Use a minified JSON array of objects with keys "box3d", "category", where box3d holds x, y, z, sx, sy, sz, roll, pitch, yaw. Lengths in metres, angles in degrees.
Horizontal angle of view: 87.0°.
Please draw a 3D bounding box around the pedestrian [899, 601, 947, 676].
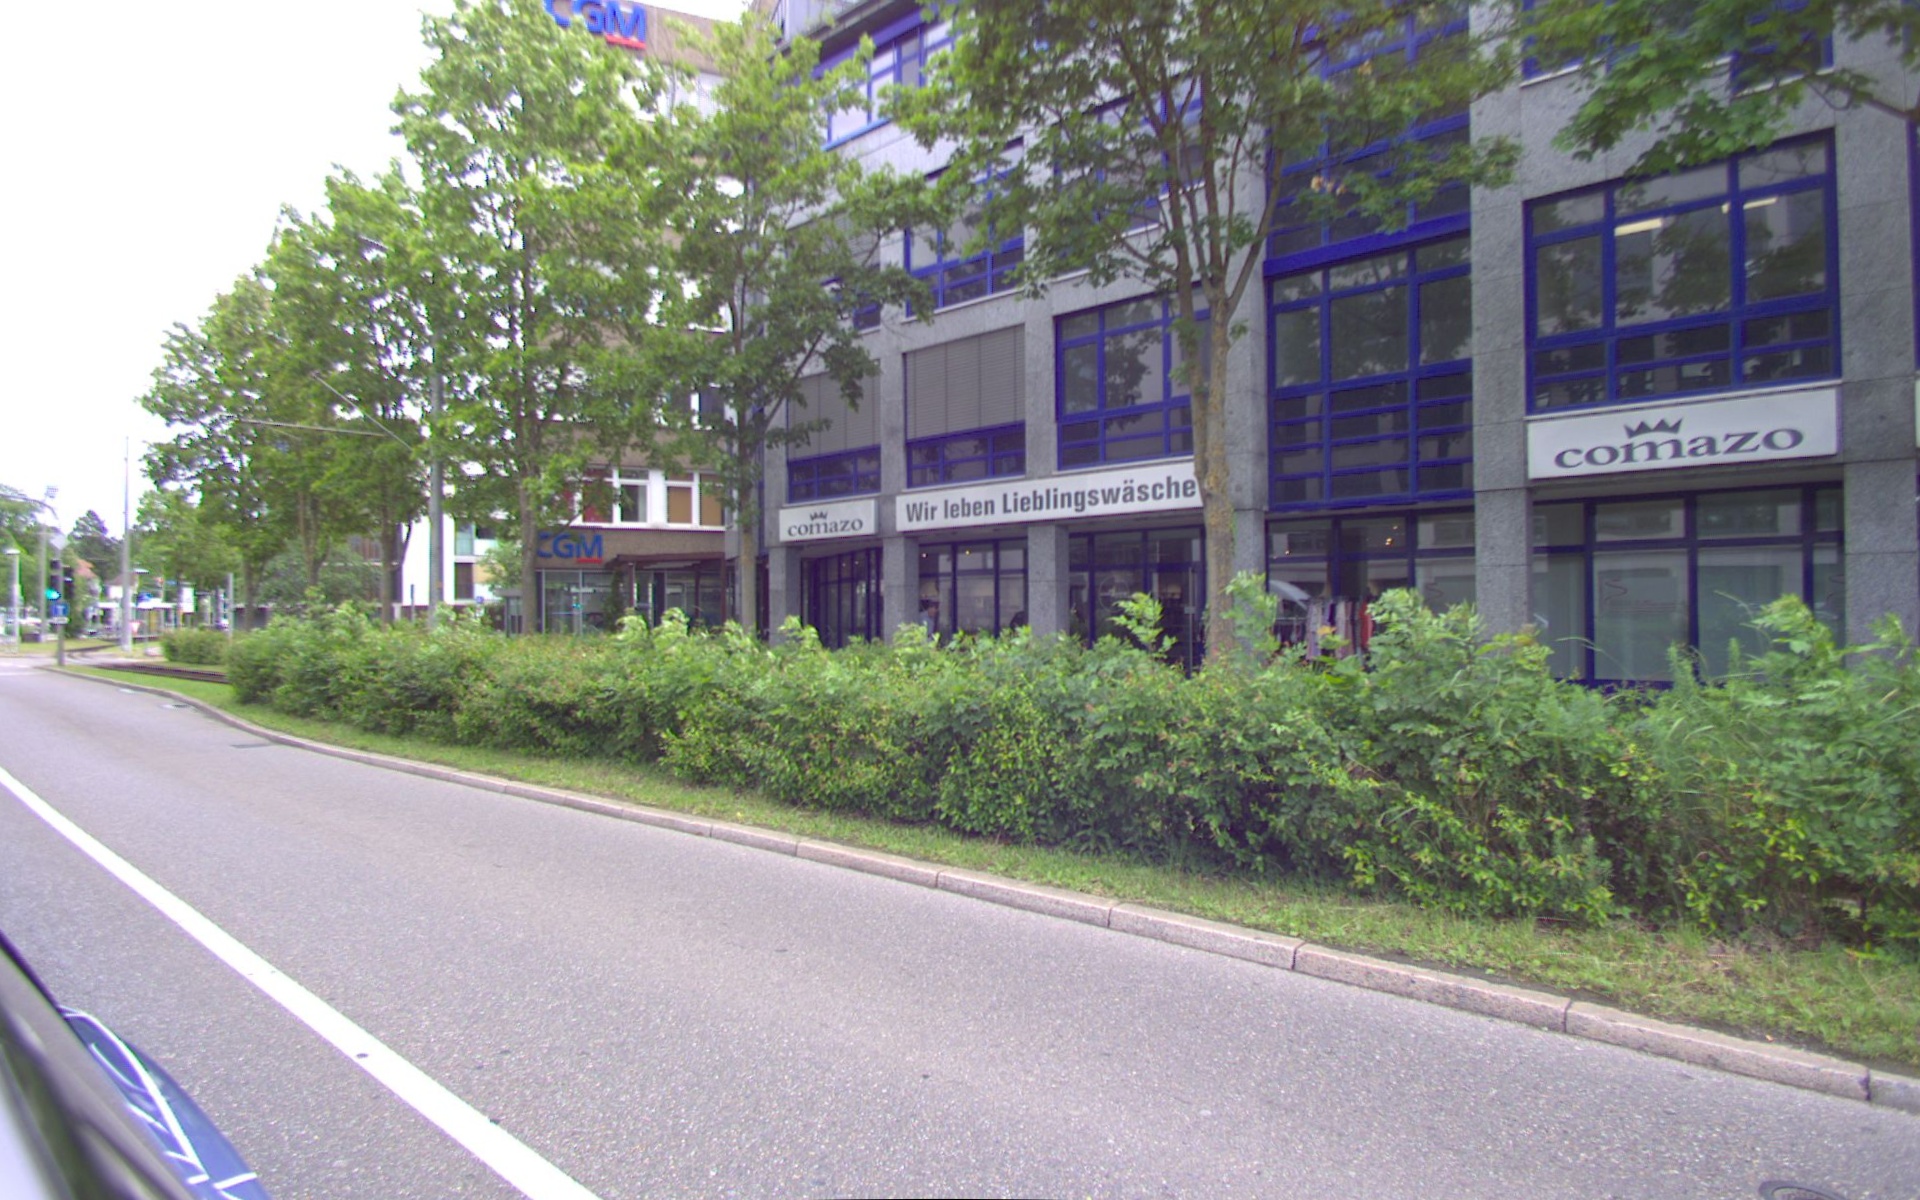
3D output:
[{"box3d":[-0.773,0.791,21.046,0.679,1.493,0.690,-2,0,41],"category":"pedestrian"}]
